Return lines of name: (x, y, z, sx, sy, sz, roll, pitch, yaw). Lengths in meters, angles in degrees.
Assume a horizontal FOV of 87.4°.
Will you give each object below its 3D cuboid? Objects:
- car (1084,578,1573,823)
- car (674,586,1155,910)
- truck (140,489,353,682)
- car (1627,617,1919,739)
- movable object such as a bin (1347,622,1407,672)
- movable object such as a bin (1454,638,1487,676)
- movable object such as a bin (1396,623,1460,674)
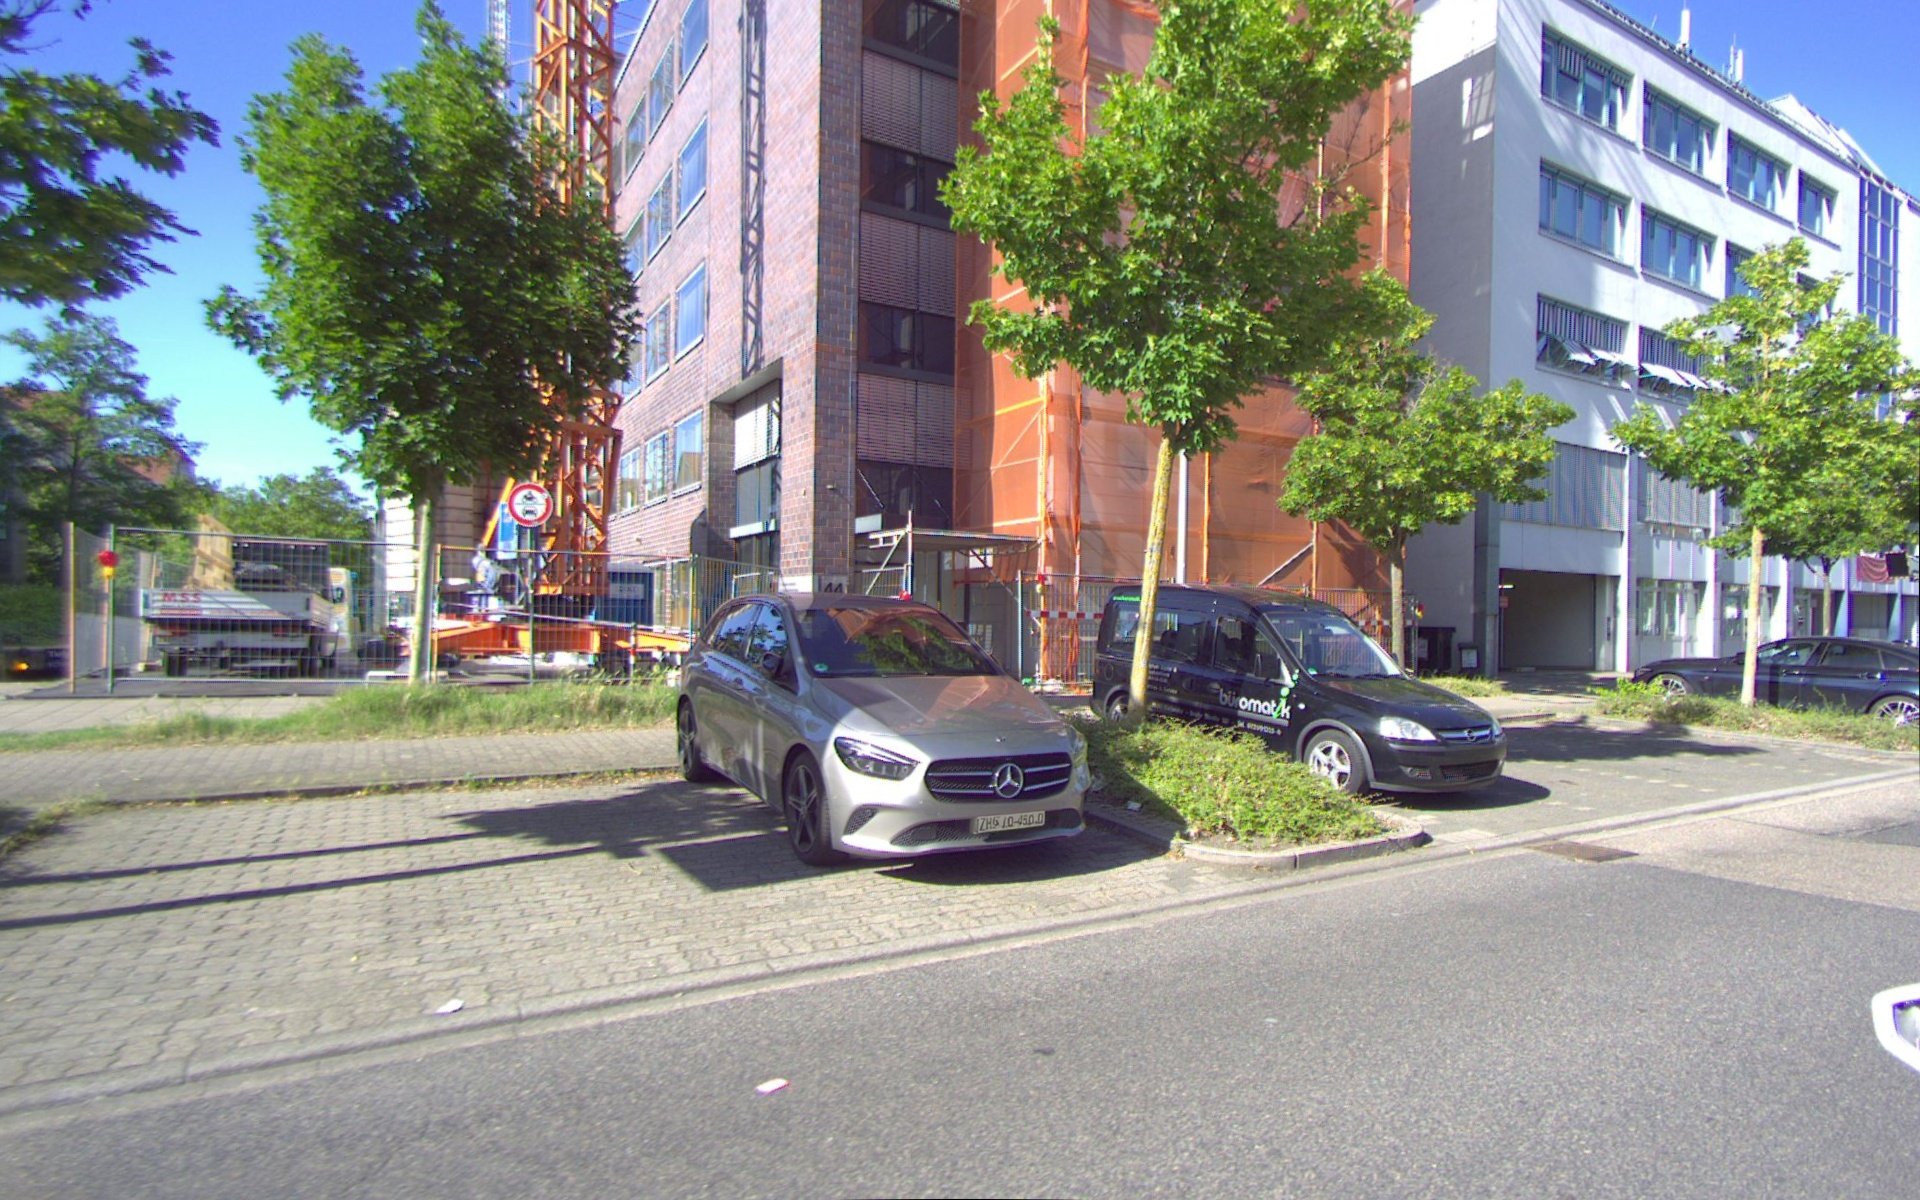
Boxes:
car: (3.264, 0.731, 9.891, 1.824, 1.769, 4.366, 1, 2, -29)
car: (-0.684, 0.743, 7.401, 1.674, 1.534, 4.363, 1, 2, -30)
truck: (-12.110, -0.142, 17.509, 2.241, 2.767, 5.819, 1, -1, -28)
car: (12.949, 1.101, 15.168, 1.957, 1.451, 4.358, 1, 2, -34)
movable object such as a bin: (11.334, 1.266, 27.308, 0.902, 1.297, 1.232, 1, -2, -27)
movable object such as a bin: (12.952, 1.452, 25.487, 0.603, 0.939, 0.485, 1, -1, -28)
movable object such as a bin: (12.179, 1.254, 26.174, 0.902, 1.297, 1.232, 1, -2, -27)
